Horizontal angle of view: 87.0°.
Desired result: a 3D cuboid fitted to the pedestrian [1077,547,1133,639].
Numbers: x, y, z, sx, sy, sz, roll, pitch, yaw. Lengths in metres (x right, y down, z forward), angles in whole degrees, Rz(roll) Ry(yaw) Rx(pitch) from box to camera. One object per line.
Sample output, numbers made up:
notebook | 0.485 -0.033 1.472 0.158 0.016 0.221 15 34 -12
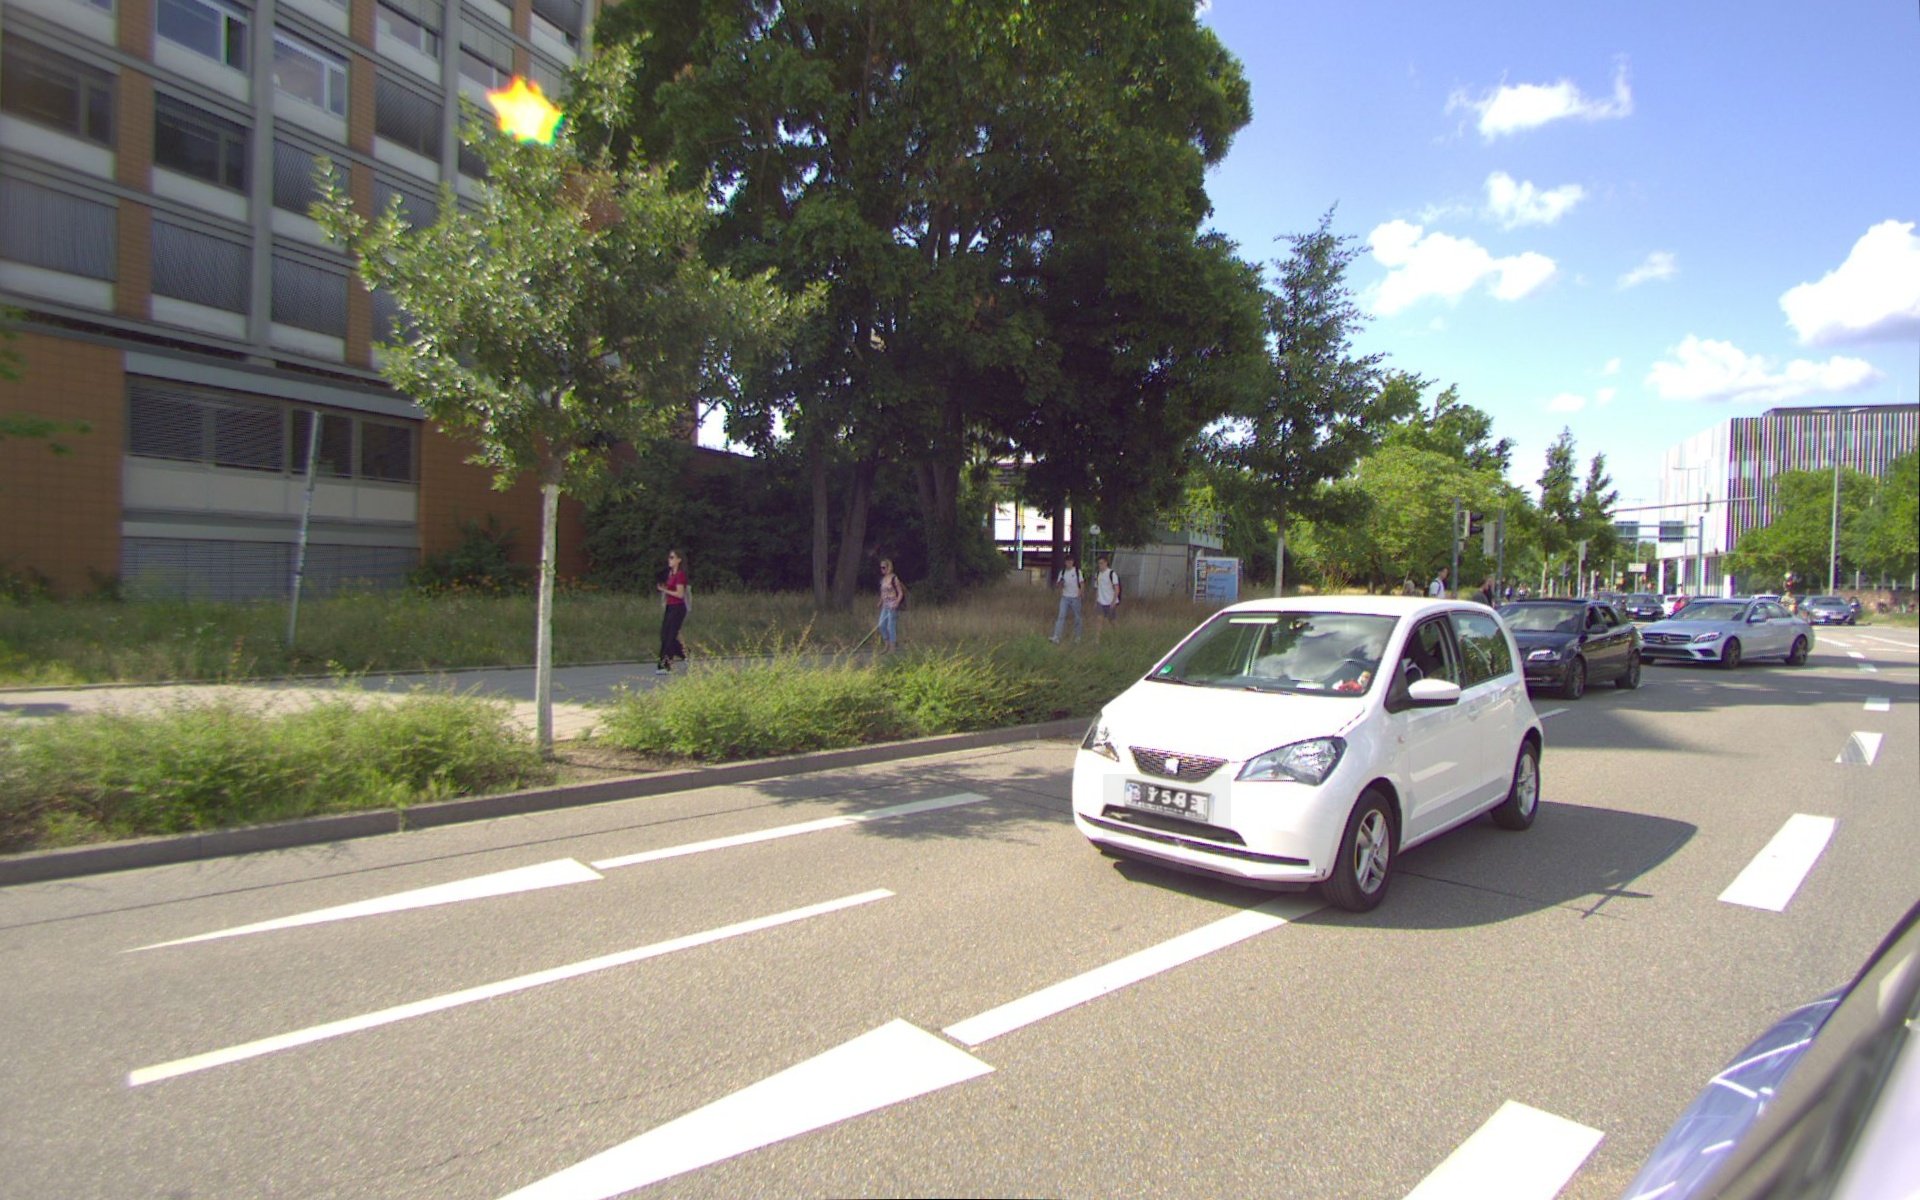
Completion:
pedestrian | 2.828 -0.142 19.698 0.614 1.720 0.876 5 4 44

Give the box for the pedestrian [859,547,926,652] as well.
pedestrian | -1.109 -0.025 16.692 0.614 1.642 0.876 5 4 44

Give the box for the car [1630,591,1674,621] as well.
car | 36.804 0.289 53.800 1.816 1.481 3.948 1 1 36

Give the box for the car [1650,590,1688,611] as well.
car | 44.726 -0.014 63.841 1.898 1.148 4.052 1 3 35

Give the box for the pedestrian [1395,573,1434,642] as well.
pedestrian | 11.857 0.196 26.387 0.765 1.757 0.708 0 0 41

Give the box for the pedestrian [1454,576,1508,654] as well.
pedestrian | 12.082 0.328 23.477 0.755 1.757 0.926 0 0 -43

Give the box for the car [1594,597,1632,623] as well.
car | 39.210 0.569 60.730 1.815 1.481 3.950 1 1 35

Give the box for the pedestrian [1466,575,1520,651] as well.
pedestrian | 12.641 0.297 23.998 0.755 1.757 0.926 0 0 -43

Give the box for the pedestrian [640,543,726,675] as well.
pedestrian | -3.636 0.101 13.276 0.874 1.642 0.615 0 4 -41

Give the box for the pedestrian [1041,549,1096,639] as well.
pedestrian | 2.168 -0.137 20.135 0.614 1.720 0.876 5 4 44

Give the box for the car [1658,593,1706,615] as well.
car | 41.415 0.196 58.115 1.582 1.148 3.597 1 1 25

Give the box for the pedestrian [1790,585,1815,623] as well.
pedestrian | 39.462 0.180 47.414 0.731 1.736 0.868 0 0 27

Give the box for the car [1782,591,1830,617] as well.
car | 47.058 0.202 56.357 1.722 1.351 3.742 0 1 35

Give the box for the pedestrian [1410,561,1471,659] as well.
pedestrian | 10.286 0.193 21.670 0.755 2.039 0.963 0 0 -43

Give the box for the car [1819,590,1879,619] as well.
car | 43.804 0.186 49.946 1.990 1.393 4.210 1 1 39

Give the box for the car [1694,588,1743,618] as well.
car | 39.819 0.137 53.186 1.814 1.481 3.951 1 1 34

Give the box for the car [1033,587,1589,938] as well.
car | 2.377 0.670 6.245 3.934 1.439 1.651 0 2 -44

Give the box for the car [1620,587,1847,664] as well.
car | 16.680 0.498 21.804 4.660 1.473 1.940 0 1 -25

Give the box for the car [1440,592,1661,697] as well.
car | 9.245 0.593 15.715 4.059 1.389 1.702 0 1 -40

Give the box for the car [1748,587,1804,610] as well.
car | 50.503 -0.105 62.709 1.761 1.371 3.966 0 1 25

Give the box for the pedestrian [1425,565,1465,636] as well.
pedestrian | 12.234 0.000 25.534 0.765 1.757 0.708 0 0 41
